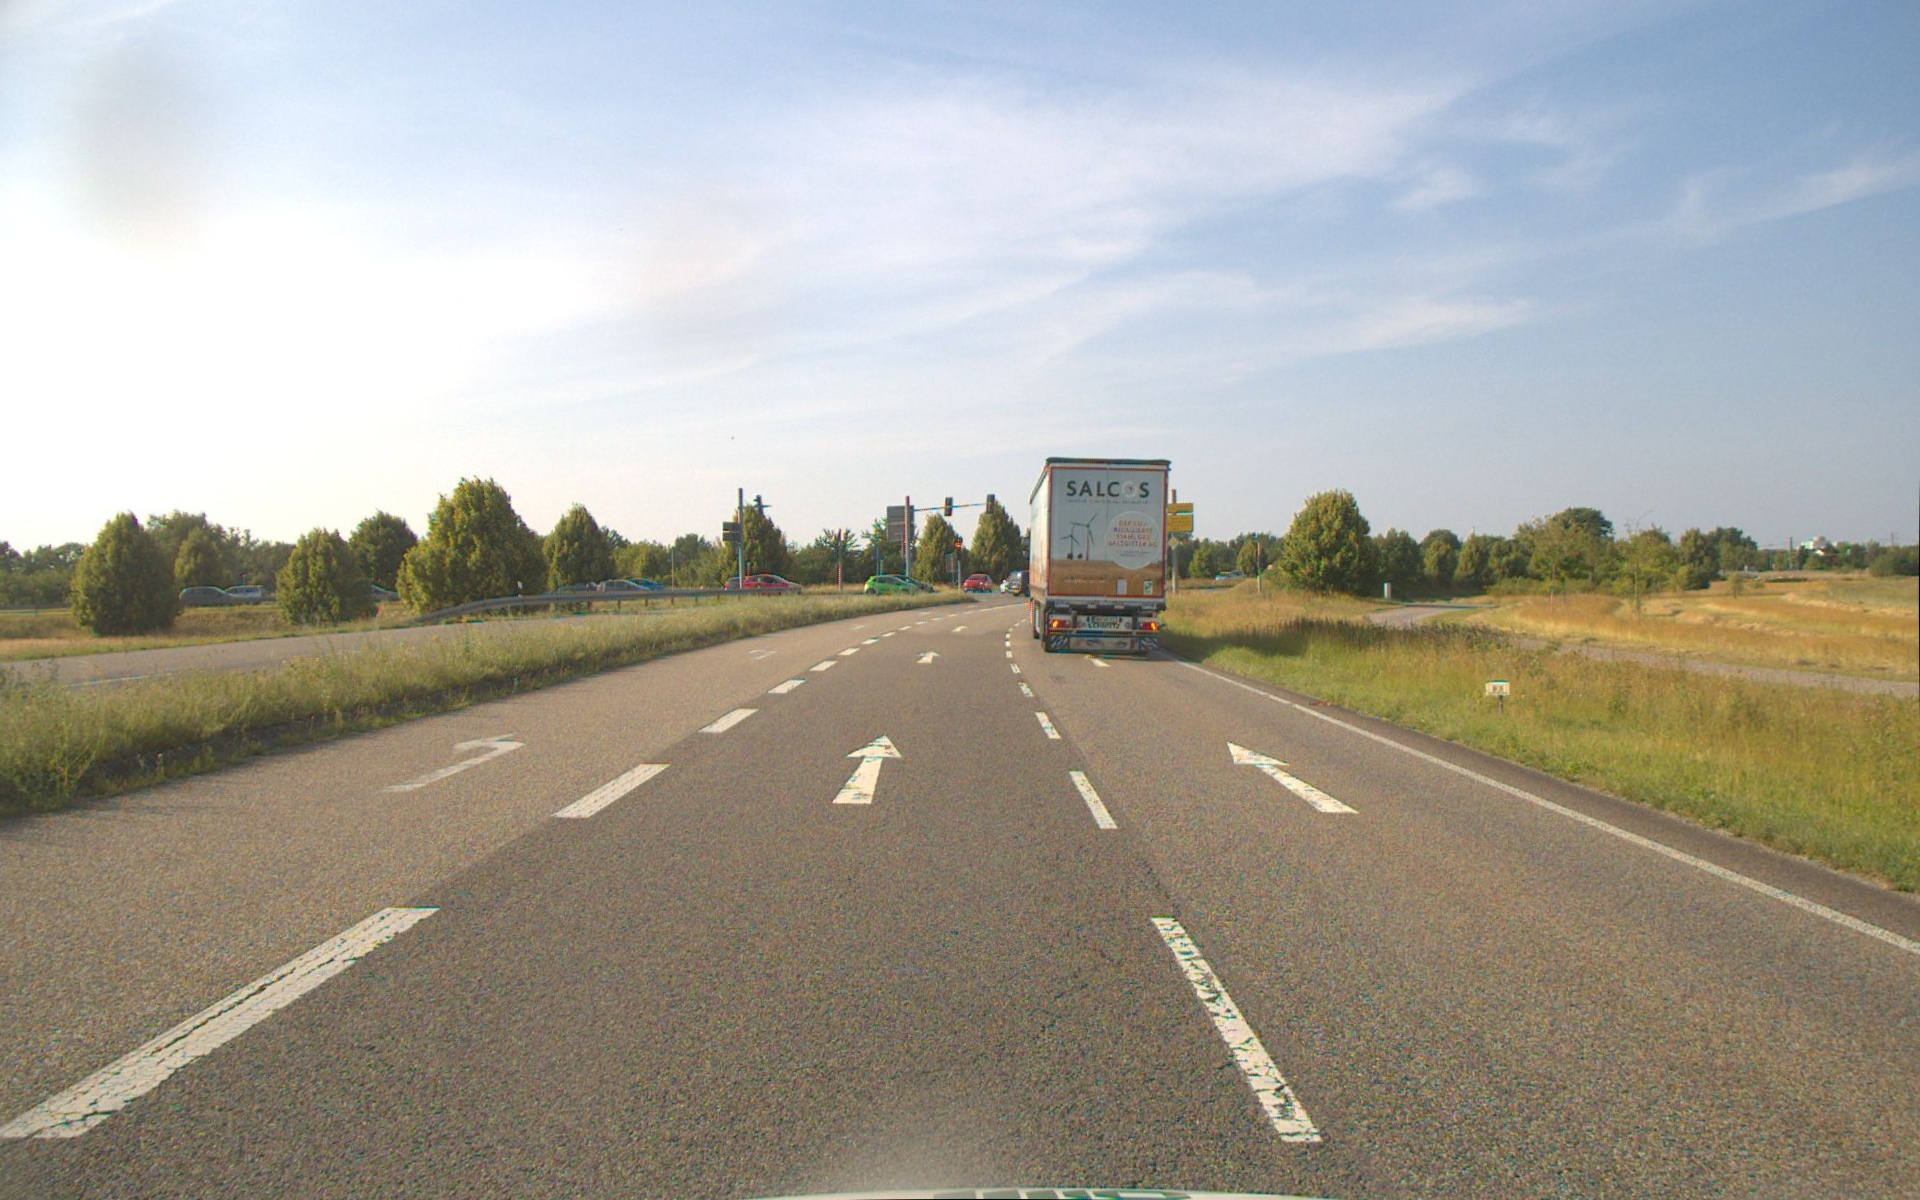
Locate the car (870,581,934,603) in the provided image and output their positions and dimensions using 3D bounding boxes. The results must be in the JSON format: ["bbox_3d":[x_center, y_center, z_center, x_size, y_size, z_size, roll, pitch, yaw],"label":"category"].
[{"bbox_3d":[-4.001,-0.524,113.698,4.333,1.441,1.919,1,0,-3],"label":"car"}]

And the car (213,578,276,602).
[{"bbox_3d":[-54.583,-0.760,126.244,3.907,1.696,1.999,1,0,-3],"label":"car"}]

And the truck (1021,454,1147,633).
[{"bbox_3d":[3.407,-1.542,46.948,3.232,4.738,5.733,1,1,1],"label":"truck"}]

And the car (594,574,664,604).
[{"bbox_3d":[-23.431,-0.747,117.199,4.362,2.049,2.002,1,0,10],"label":"car"}]

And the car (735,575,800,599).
[{"bbox_3d":[-13.542,-0.924,116.275,4.173,1.592,1.903,1,0,7],"label":"car"}]

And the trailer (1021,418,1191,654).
[{"bbox_3d":[3.209,-1.428,40.180,3.213,4.762,13.151,1,1,1],"label":"trailer"}]

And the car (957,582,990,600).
[{"bbox_3d":[1.150,-0.746,137.521,1.684,1.514,3.807,0,1,17],"label":"car"}]

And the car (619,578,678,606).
[{"bbox_3d":[-24.275,-0.621,129.063,4.374,2.049,1.996,1,0,-8],"label":"car"}]

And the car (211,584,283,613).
[{"bbox_3d":[-51.562,-0.106,119.704,4.374,2.049,1.996,1,0,-8],"label":"car"}]
